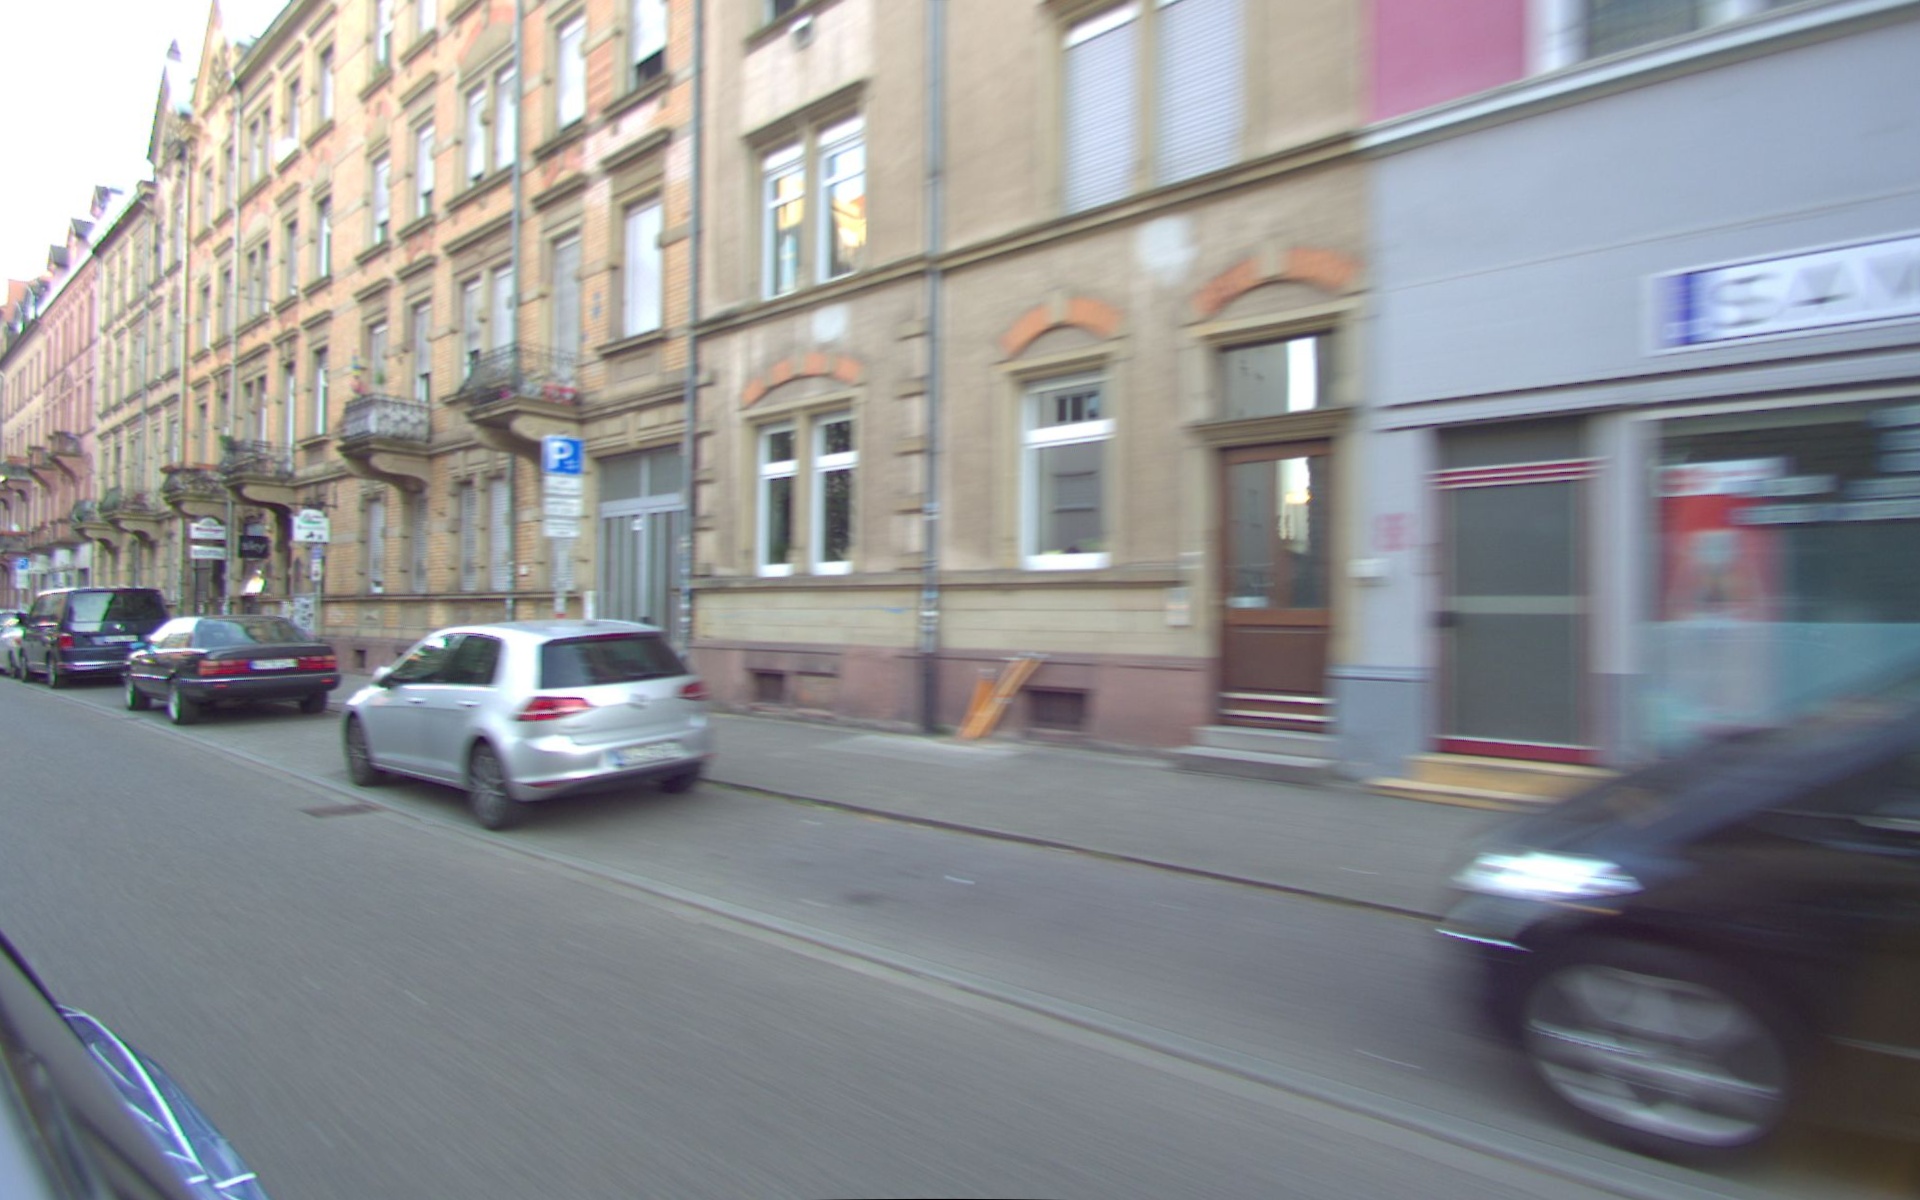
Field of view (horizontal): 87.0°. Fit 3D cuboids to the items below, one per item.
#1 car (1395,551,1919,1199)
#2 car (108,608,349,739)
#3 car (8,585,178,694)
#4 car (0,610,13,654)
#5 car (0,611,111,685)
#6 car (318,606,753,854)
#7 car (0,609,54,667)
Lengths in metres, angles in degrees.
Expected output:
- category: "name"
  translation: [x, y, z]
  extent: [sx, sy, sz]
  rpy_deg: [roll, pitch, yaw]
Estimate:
- category: "car"
  translation: [3.479, 0.662, 2.540]
  extent: [4.054, 1.605, 1.735]
  rpy_deg: [-1, 0, 40]
- category: "car"
  translation: [-10.584, 0.941, 14.529]
  extent: [4.276, 1.486, 1.736]
  rpy_deg: [-1, 3, 40]
- category: "car"
  translation: [-17.833, 0.745, 20.758]
  extent: [4.287, 1.975, 1.851]
  rpy_deg: [-1, 1, 39]
- category: "car"
  translation: [-34.376, 1.159, 34.937]
  extent: [4.051, 1.445, 1.737]
  rpy_deg: [-1, 3, 38]
- category: "car"
  translation: [-21.850, 1.088, 23.982]
  extent: [4.051, 1.486, 1.737]
  rpy_deg: [-1, 3, 38]
- category: "car"
  translation: [-3.741, 0.872, 8.577]
  extent: [4.056, 1.486, 1.735]
  rpy_deg: [-1, 4, 42]
- category: "car"
  translation: [-27.606, 1.090, 28.935]
  extent: [4.051, 1.486, 1.737]
  rpy_deg: [-1, 3, 38]
